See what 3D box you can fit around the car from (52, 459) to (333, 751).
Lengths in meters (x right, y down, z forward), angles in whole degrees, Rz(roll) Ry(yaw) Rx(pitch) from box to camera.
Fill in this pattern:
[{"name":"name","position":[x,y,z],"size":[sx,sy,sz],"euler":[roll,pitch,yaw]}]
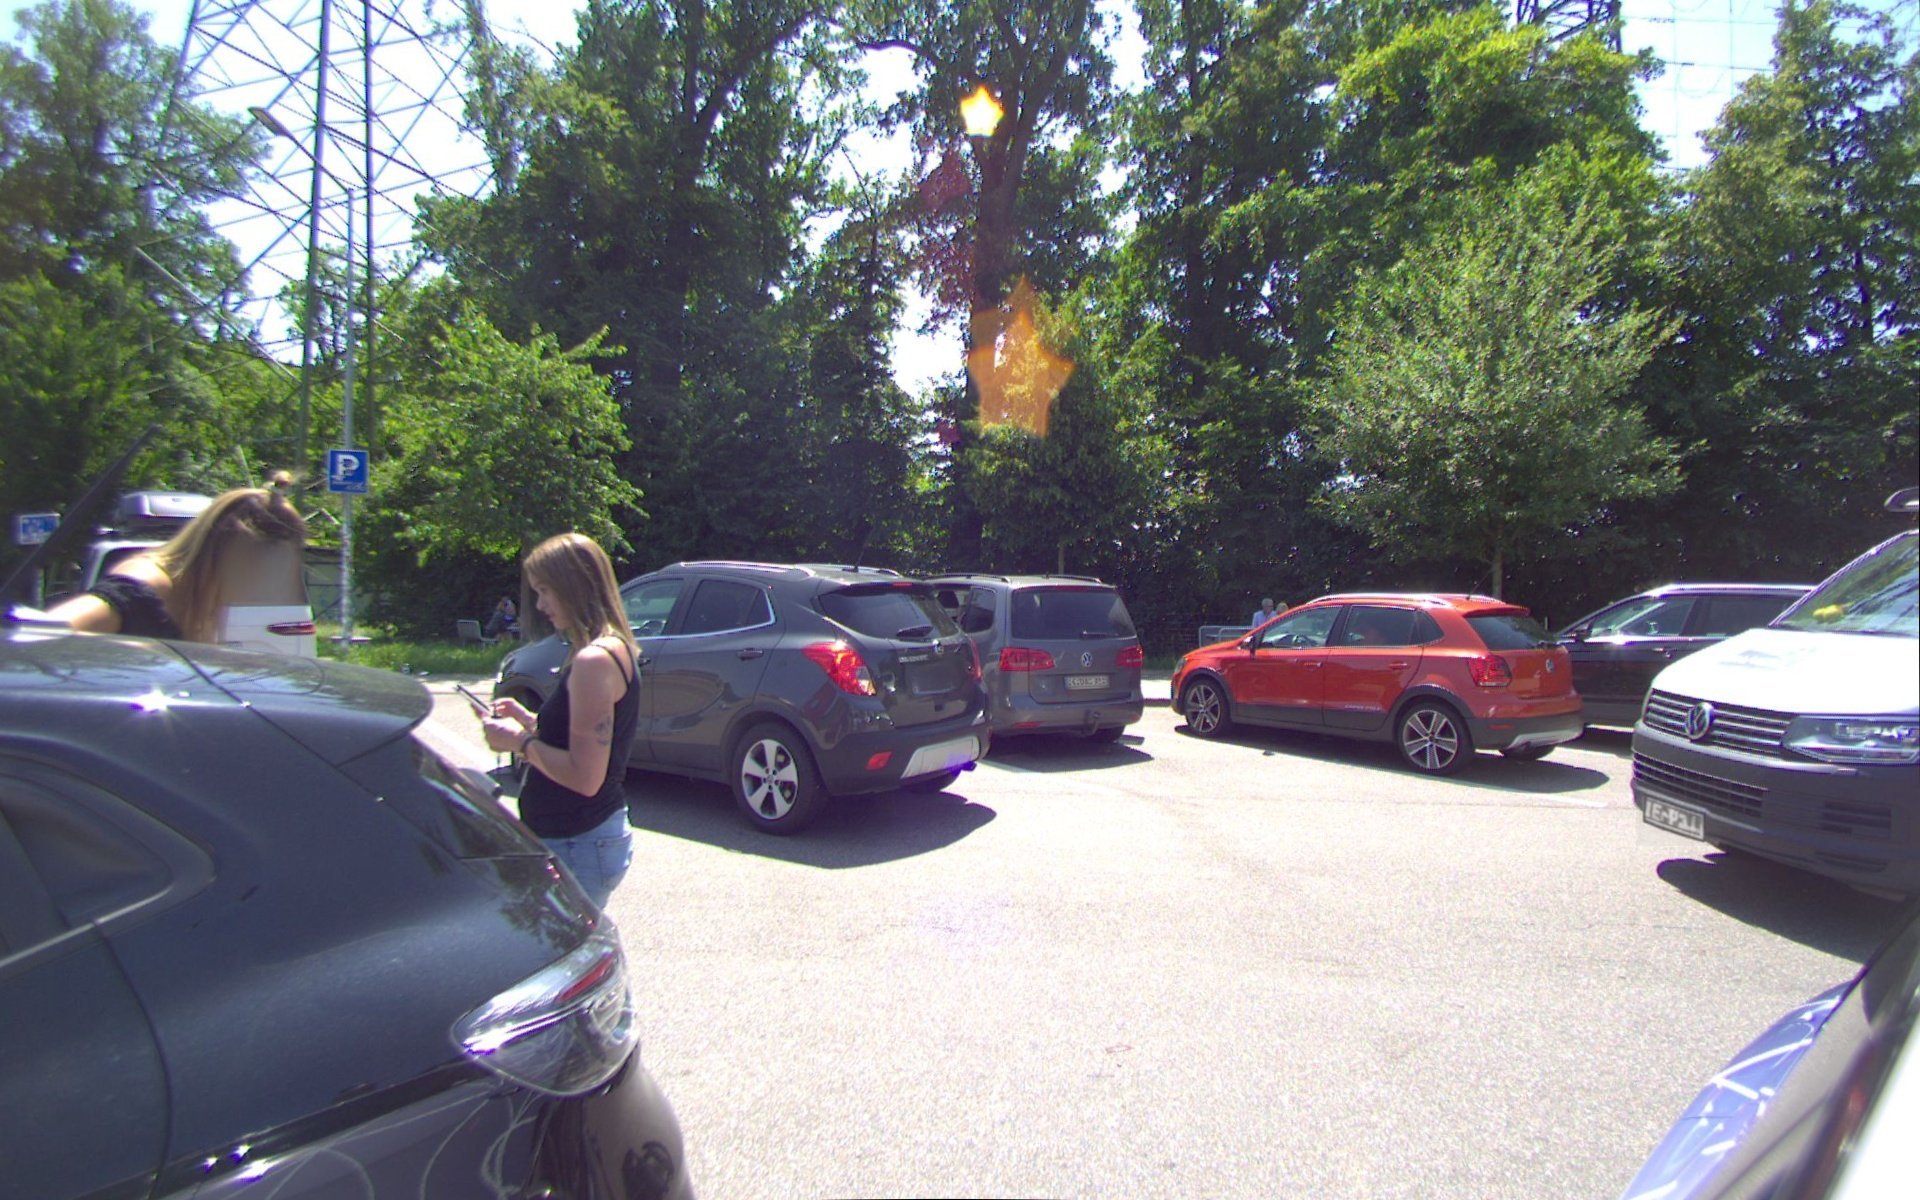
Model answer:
[{"name":"car","position":[-8.367,0.032,10.822],"size":[1.897,2.400,4.963],"euler":[1,-1,-43]}]

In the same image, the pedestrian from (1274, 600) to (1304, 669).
[{"name":"pedestrian","position":[5.816,0.607,17.904],"size":[0.348,1.207,0.367],"euler":[0,0,-20]}]

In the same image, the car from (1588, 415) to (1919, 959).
[{"name":"car","position":[6.229,0.359,4.695],"size":[5.336,2.131,1.842],"euler":[1,1,4]}]

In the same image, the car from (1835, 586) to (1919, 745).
[{"name":"car","position":[10.348,0.626,8.865],"size":[1.813,1.473,3.776],"euler":[1,0,-36]}]

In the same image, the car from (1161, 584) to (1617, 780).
[{"name":"car","position":[3.851,0.619,9.659],"size":[1.588,1.485,3.751],"euler":[1,0,-34]}]

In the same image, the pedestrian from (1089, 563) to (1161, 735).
[{"name":"pedestrian","position":[1.728,0.492,10.604],"size":[0.576,1.744,0.483],"euler":[0,0,-20]}]

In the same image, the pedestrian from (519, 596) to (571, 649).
[{"name":"pedestrian","position":[-9.652,0.504,23.545],"size":[0.810,1.201,0.836],"euler":[0,0,40]}]

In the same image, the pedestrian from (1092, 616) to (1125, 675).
[{"name":"pedestrian","position":[2.318,0.707,15.807],"size":[0.494,0.890,0.512],"euler":[1,-1,10]}]

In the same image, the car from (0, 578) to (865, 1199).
[{"name":"car","position":[-2.021,0.727,0.800],"size":[1.776,1.476,3.628],"euler":[0,1,44]}]

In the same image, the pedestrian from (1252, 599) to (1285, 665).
[{"name":"pedestrian","position":[5.794,0.597,19.013],"size":[0.433,1.207,0.414],"euler":[0,0,-30]}]

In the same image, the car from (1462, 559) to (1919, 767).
[{"name":"car","position":[7.173,0.498,9.746],"size":[1.679,1.637,3.863],"euler":[1,0,-40]}]

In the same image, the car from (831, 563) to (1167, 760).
[{"name":"car","position":[0.197,0.500,10.554],"size":[1.670,1.637,3.912],"euler":[0,0,-30]}]

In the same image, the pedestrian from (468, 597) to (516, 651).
[{"name":"pedestrian","position":[-10.497,0.529,22.696],"size":[0.785,1.178,0.696],"euler":[0,0,39]}]

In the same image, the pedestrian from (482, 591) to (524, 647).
[{"name":"pedestrian","position":[-11.056,0.441,24.487],"size":[0.539,1.318,0.758],"euler":[0,0,37]}]

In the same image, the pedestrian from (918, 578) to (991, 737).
[{"name":"pedestrian","position":[-0.061,0.548,10.050],"size":[0.511,1.516,0.560],"euler":[0,0,-30]}]

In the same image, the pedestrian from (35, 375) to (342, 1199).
[{"name":"pedestrian","position":[-1.814,0.505,2.463],"size":[0.478,1.883,0.913],"euler":[1,-1,-33]}]

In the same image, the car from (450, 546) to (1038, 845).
[{"name":"car","position":[-1.678,0.507,7.434],"size":[4.135,1.637,1.817],"euler":[1,0,32]}]

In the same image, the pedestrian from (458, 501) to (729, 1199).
[{"name":"pedestrian","position":[-0.945,0.586,2.606],"size":[0.477,1.614,0.502],"euler":[1,-1,-44]}]
